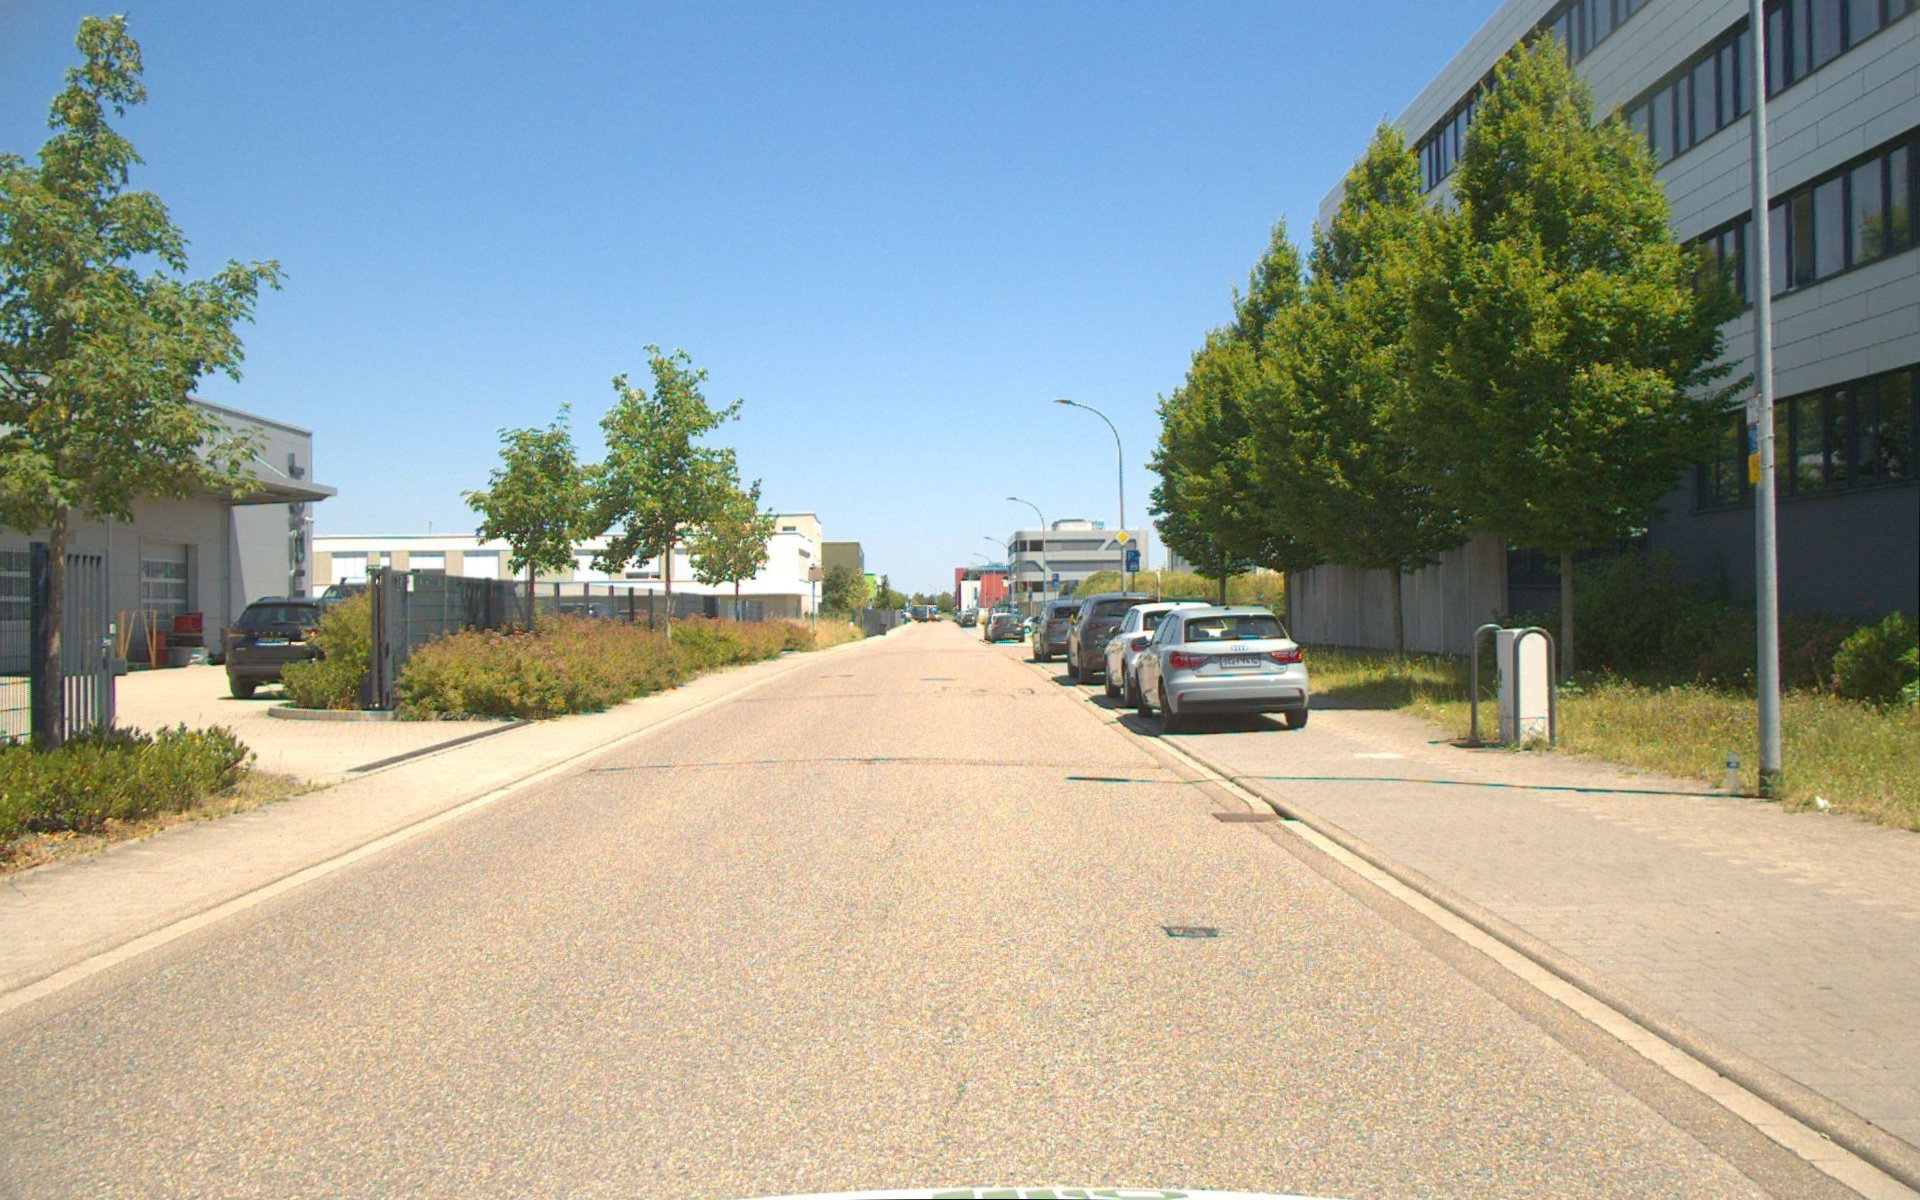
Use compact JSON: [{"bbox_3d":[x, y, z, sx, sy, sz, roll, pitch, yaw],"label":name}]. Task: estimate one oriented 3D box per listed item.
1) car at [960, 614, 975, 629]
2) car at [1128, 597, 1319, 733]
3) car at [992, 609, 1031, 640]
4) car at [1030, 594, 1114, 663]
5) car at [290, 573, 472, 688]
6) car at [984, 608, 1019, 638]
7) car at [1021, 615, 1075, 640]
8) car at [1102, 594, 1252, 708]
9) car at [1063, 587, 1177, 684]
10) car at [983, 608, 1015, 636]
[{"bbox_3d":[0.856,2.565,195.670,1.740,1.758,3.999,1,-1,-1],"label":"car"},{"bbox_3d":[3.177,0.740,20.648,1.681,1.448,3.950,-3,0,0],"label":"car"},{"bbox_3d":[2.635,1.248,84.858,1.868,1.473,4.001,-2,-1,2],"label":"car"},{"bbox_3d":[3.006,0.750,45.294,1.767,1.691,4.606,-3,0,-2],"label":"car"},{"bbox_3d":[-11.689,0.598,33.763,1.959,2.135,4.694,1,-1,1],"label":"car"},{"bbox_3d":[2.367,1.307,93.771,1.868,1.573,4.001,-2,-1,2],"label":"car"},{"bbox_3d":[7.563,2.322,142.487,4.529,2.049,2.607,1,-1,2],"label":"car"},{"bbox_3d":[3.220,0.723,25.233,1.681,1.507,4.031,-3,0,0],"label":"car"},{"bbox_3d":[3.068,0.654,32.479,1.722,1.692,4.362,-2,0,0],"label":"car"},{"bbox_3d":[2.381,1.329,100.192,1.868,1.573,4.001,-2,-1,2],"label":"car"}]
